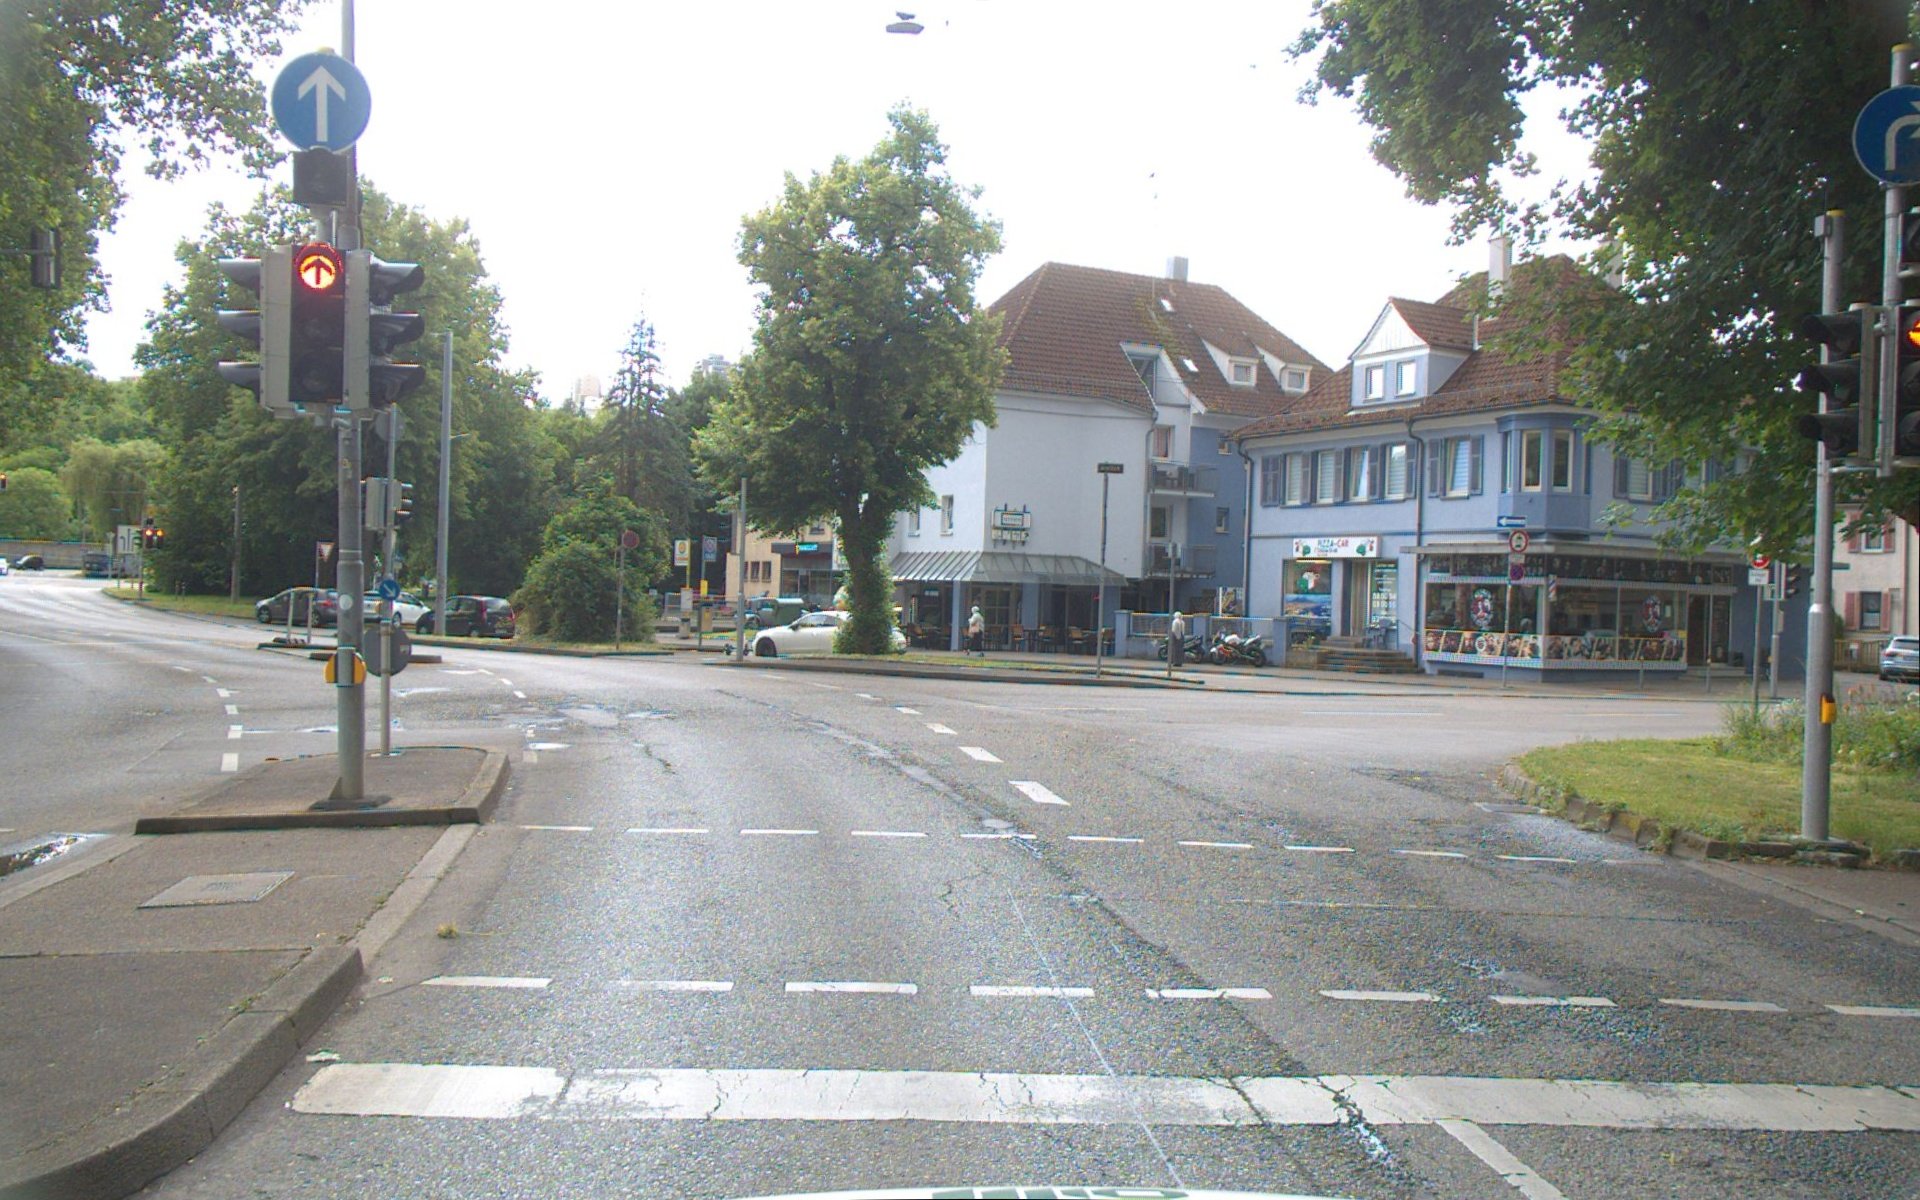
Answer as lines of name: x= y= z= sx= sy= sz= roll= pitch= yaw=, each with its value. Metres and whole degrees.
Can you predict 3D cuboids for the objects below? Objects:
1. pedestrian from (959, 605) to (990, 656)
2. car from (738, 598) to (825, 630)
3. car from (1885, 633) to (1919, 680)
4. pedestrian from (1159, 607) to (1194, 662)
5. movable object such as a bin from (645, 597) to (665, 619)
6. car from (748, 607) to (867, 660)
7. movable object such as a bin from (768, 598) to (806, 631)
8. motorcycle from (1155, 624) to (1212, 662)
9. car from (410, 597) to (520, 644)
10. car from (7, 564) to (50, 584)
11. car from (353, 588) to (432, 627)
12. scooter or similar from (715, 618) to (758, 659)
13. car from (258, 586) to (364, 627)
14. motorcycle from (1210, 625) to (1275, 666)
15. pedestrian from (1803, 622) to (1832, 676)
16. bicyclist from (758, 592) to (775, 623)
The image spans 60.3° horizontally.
pedestrian: x=0.452 y=0.970 z=52.587 sx=0.694 sy=1.572 sz=0.675 roll=1 pitch=0 yaw=39
car: x=-8.160 y=0.645 z=75.734 sx=3.690 sy=1.368 sz=1.421 roll=1 pitch=0 yaw=-27
car: x=29.850 y=1.741 z=51.415 sx=1.471 sy=1.393 sz=3.164 roll=1 pitch=0 yaw=38
pedestrian: x=6.324 y=0.999 z=48.340 sx=0.754 sy=1.572 sz=0.675 roll=1 pitch=-1 yaw=38
movable object such as a bin: x=-15.854 y=0.399 z=85.916 sx=0.937 sy=1.135 sz=0.381 roll=1 pitch=0 yaw=-22
car: x=-4.247 y=0.920 z=45.960 sx=3.110 sy=1.378 sz=1.435 roll=1 pitch=0 yaw=34
movable object such as a bin: x=-7.720 y=0.662 z=73.843 sx=1.424 sy=1.433 sz=0.959 roll=1 pitch=0 yaw=-27
motorcycle: x=6.790 y=1.296 z=50.239 sx=1.609 sy=1.082 sz=0.690 roll=1 pitch=0 yaw=44
car: x=-16.009 y=0.662 z=53.464 sx=3.519 sy=1.418 sz=1.468 roll=1 pitch=0 yaw=32
car: x=-102.216 y=-2.820 z=181.494 sx=3.948 sy=2.049 sz=1.978 roll=1 pitch=0 yaw=-32
car: x=-22.670 y=0.310 z=66.186 sx=1.512 sy=1.490 sz=3.398 roll=1 pitch=0 yaw=10
scooter or similar: x=-5.732 y=0.985 z=42.543 sx=0.408 sy=1.029 sz=1.567 roll=1 pitch=0 yaw=20
car: x=-24.861 y=0.248 z=63.396 sx=3.469 sy=1.490 sz=1.586 roll=1 pitch=0 yaw=12
motorcycle: x=8.271 y=1.313 z=48.482 sx=1.765 sy=1.141 sz=0.692 roll=1 pitch=0 yaw=38
pedestrian: x=24.694 y=1.413 z=47.617 sx=0.451 sy=1.544 sz=0.584 roll=1 pitch=-1 yaw=-21
bicyclist: x=-9.886 y=0.363 z=84.461 sx=0.726 sy=1.568 sz=0.597 roll=1 pitch=0 yaw=-19
